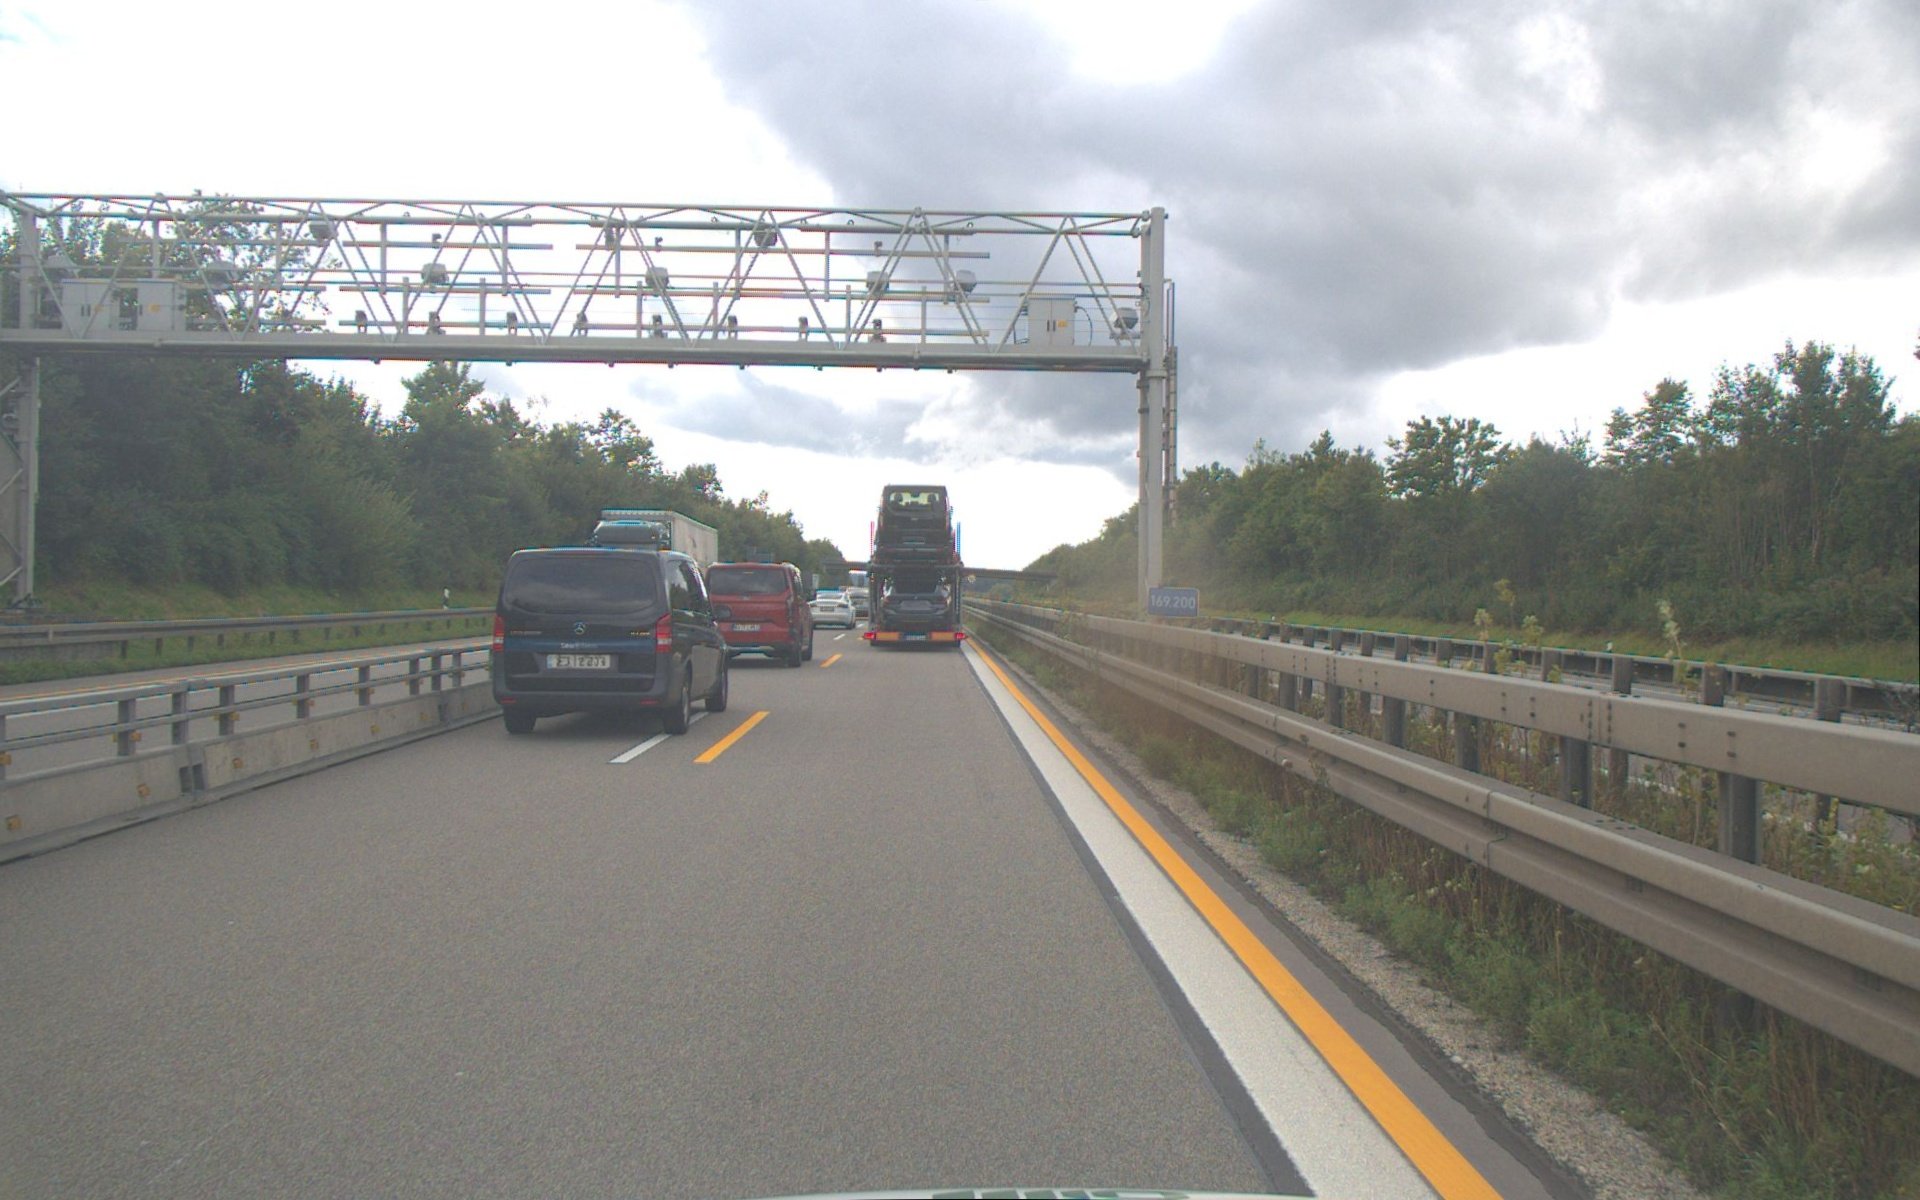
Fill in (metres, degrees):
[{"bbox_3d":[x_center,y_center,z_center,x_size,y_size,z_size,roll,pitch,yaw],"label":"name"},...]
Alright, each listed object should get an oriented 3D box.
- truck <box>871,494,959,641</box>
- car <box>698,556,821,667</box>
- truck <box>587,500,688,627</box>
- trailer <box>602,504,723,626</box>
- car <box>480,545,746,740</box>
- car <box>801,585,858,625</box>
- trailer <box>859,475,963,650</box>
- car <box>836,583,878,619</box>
[{"bbox_3d":[-1.325,-0.923,50.218,2.464,4.177,5.684,1,0,-1],"label":"truck"},{"bbox_3d":[-3.931,0.212,33.096,1.990,2.049,4.576,0,0,-1],"label":"car"},{"bbox_3d":[-11.264,-1.251,58.213,2.546,4.227,5.618,1,1,-2],"label":"truck"},{"bbox_3d":[-11.434,-1.315,64.997,2.546,4.227,13.988,1,1,-2],"label":"trailer"},{"bbox_3d":[-3.703,0.399,18.736,1.953,1.875,5.608,0,0,-1],"label":"car"},{"bbox_3d":[-5.008,0.179,63.926,1.990,1.456,4.576,0,0,-2],"label":"car"},{"bbox_3d":[-1.258,-0.917,45.473,2.464,4.177,11.111,1,0,-1],"label":"trailer"},{"bbox_3d":[-5.217,0.052,84.390,1.990,1.788,4.576,0,0,-2],"label":"car"}]
